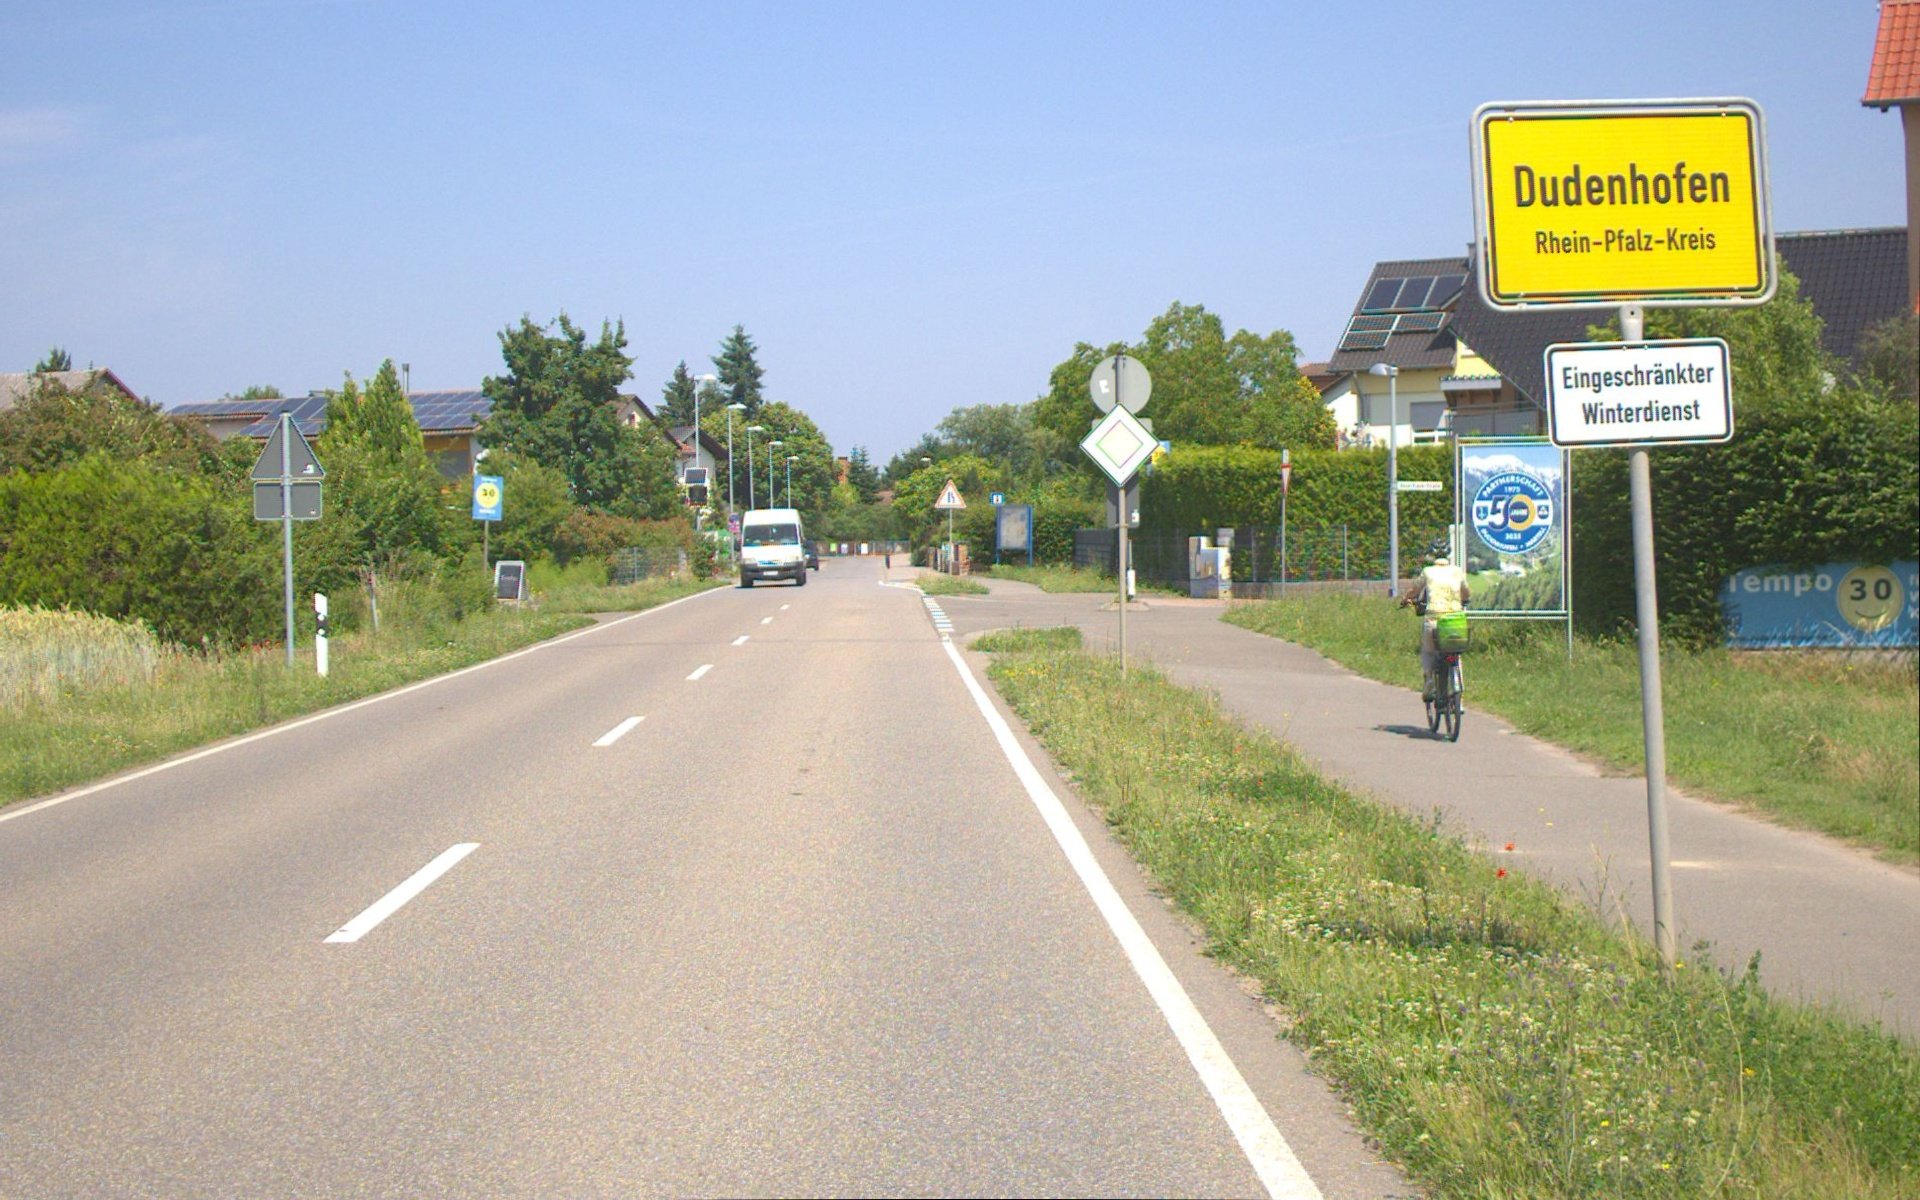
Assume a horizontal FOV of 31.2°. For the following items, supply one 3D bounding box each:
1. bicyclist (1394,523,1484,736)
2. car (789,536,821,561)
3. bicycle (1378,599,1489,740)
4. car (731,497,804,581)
[{"bbox_3d":[4.309,0.252,30.993,0.645,1.883,0.861,0,2,-2],"label":"bicyclist"},{"bbox_3d":[-9.243,-3.065,205.187,1.759,1.380,3.453,-2,1,-2],"label":"car"},{"bbox_3d":[4.295,0.609,31.302,0.610,1.155,2.274,0,2,-2],"label":"bicycle"},{"bbox_3d":[-6.111,-1.987,109.957,2.077,2.533,5.874,-2,2,-2],"label":"car"}]
